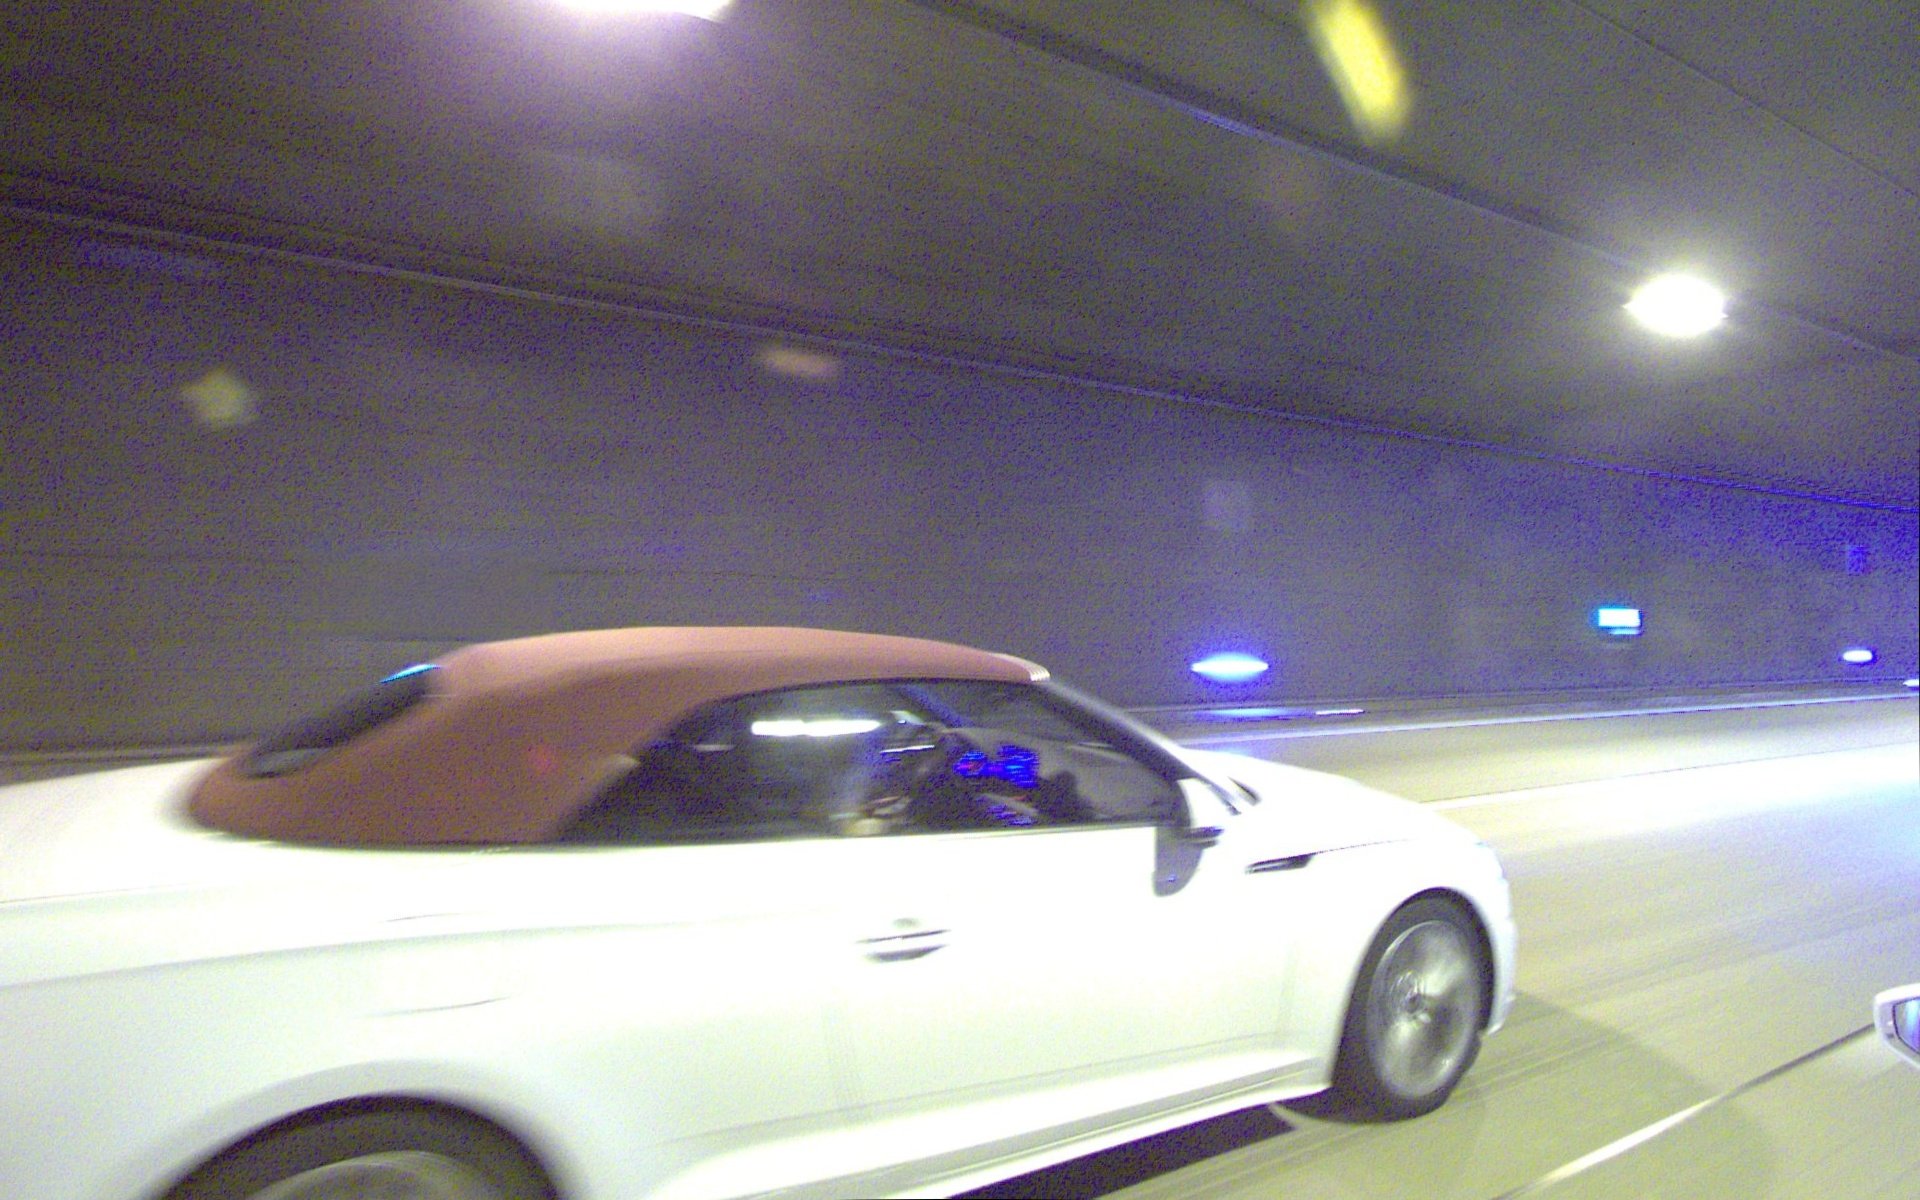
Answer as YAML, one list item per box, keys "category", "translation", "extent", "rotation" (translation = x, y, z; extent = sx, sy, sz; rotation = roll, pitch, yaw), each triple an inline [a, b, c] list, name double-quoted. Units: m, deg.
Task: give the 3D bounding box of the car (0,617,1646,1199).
- category: "car"
  translation: [-0.192, 0.809, 2.937]
  extent: [5.001, 1.437, 1.694]
  rotation: [2, -1, -31]
